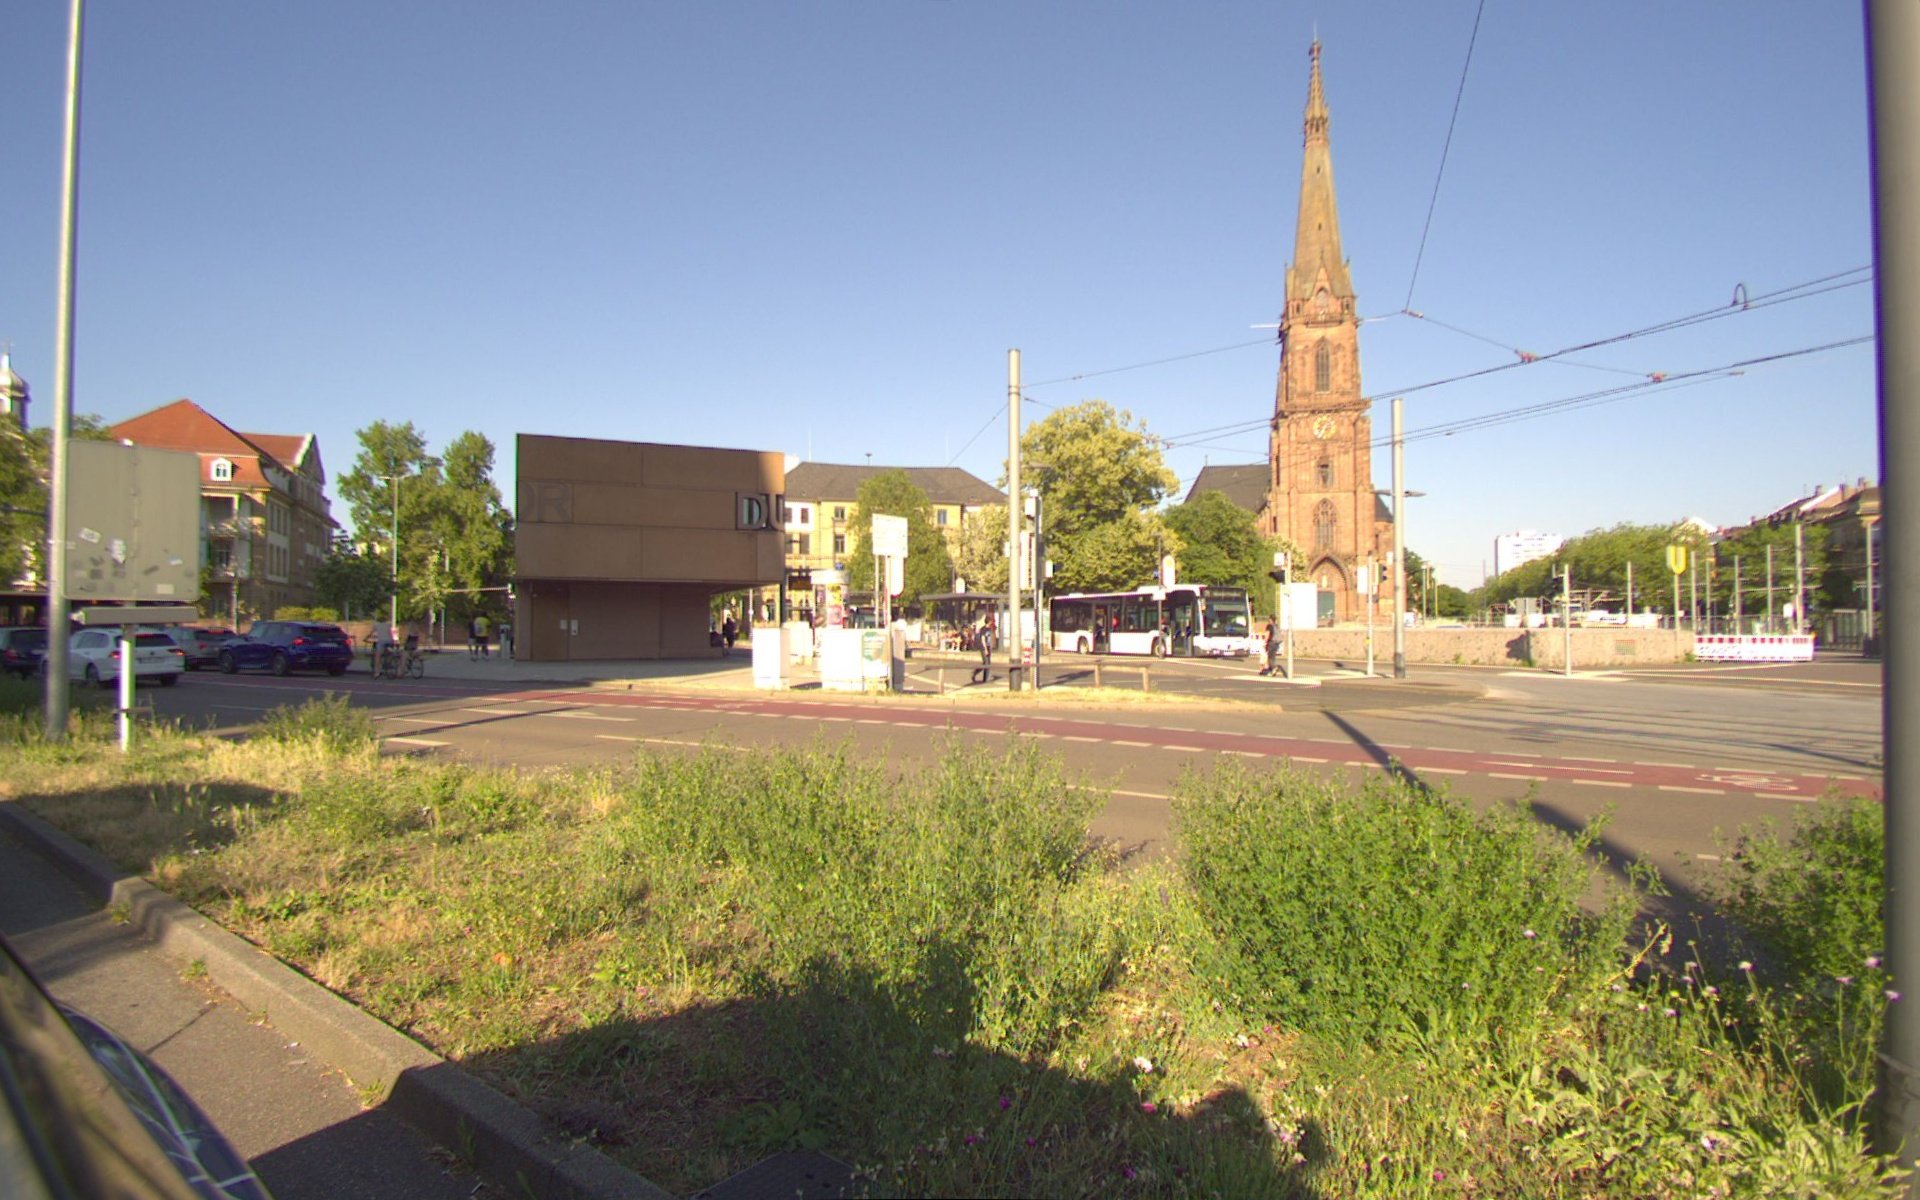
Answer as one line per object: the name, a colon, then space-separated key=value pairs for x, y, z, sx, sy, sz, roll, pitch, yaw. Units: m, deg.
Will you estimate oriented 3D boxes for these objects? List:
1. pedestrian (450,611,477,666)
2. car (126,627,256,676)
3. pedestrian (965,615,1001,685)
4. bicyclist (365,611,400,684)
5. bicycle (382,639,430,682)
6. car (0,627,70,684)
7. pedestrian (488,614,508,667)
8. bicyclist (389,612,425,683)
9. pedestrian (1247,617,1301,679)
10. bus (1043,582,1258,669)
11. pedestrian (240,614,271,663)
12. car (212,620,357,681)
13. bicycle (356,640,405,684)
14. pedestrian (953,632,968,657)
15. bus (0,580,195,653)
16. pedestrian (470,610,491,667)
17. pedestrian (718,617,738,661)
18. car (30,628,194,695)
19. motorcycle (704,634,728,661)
pedestrian: x=-18.810 y=1.451 z=38.341 sx=0.765 sy=2.029 sz=0.775 roll=-1 pitch=0 yaw=-37
car: x=-25.204 y=1.655 z=33.141 sx=4.375 sy=1.503 sz=1.831 roll=-1 pitch=-4 yaw=30
pedestrian: x=0.591 y=1.273 z=26.031 sx=0.702 sy=1.771 sz=0.584 roll=-1 pitch=0 yaw=-30
bicyclist: x=-16.292 y=1.344 z=28.558 sx=0.562 sy=2.029 sz=0.605 roll=-1 pitch=-2 yaw=25
bicycle: x=-15.993 y=1.740 z=29.203 sx=1.388 sy=1.201 sz=0.461 roll=-1 pitch=0 yaw=24
car: x=-26.914 y=1.517 z=28.498 sx=4.177 sy=1.471 sz=1.737 roll=-1 pitch=0 yaw=33
pedestrian: x=-18.041 y=1.581 z=39.543 sx=0.645 sy=2.029 sz=0.470 roll=-1 pitch=0 yaw=-29
bicyclist: x=-15.937 y=1.364 z=29.169 sx=0.705 sy=2.029 sz=0.605 roll=-1 pitch=-2 yaw=25
pedestrian: x=8.988 y=1.360 z=28.977 sx=1.025 sy=1.696 sz=1.007 roll=-1 pitch=0 yaw=-25
bus: x=7.637 y=0.970 z=43.417 sx=2.655 sy=3.174 sz=12.216 roll=-1 pitch=0 yaw=-23
pedestrian: x=-27.743 y=1.512 z=39.884 sx=0.787 sy=1.911 sz=0.612 roll=0 pitch=-2 yaw=-9
car: x=-20.094 y=1.465 z=30.091 sx=4.166 sy=1.703 sz=1.741 roll=-1 pitch=-1 yaw=26
bicycle: x=-16.360 y=1.745 z=28.549 sx=1.388 sy=1.201 sz=0.461 roll=-1 pitch=0 yaw=24
pedestrian: x=0.003 y=2.196 z=49.973 sx=0.531 sy=1.196 sz=0.660 roll=-1 pitch=0 yaw=-21
bus: x=-43.296 y=0.756 z=47.000 sx=3.070 sy=3.236 sz=12.436 roll=-1 pitch=0 yaw=25
pedestrian: x=-17.392 y=1.386 z=36.702 sx=0.645 sy=2.029 sz=0.470 roll=-1 pitch=0 yaw=-29
pedestrian: x=-10.885 y=1.815 z=47.424 sx=0.762 sy=2.029 sz=0.778 roll=-1 pitch=0 yaw=-2
car: x=-21.480 y=1.487 z=25.602 sx=4.375 sy=1.503 sz=1.831 roll=-1 pitch=0 yaw=30
motorcycle: x=-10.135 y=1.959 z=42.033 sx=0.935 sy=1.075 sz=0.331 roll=-1 pitch=0 yaw=-11
